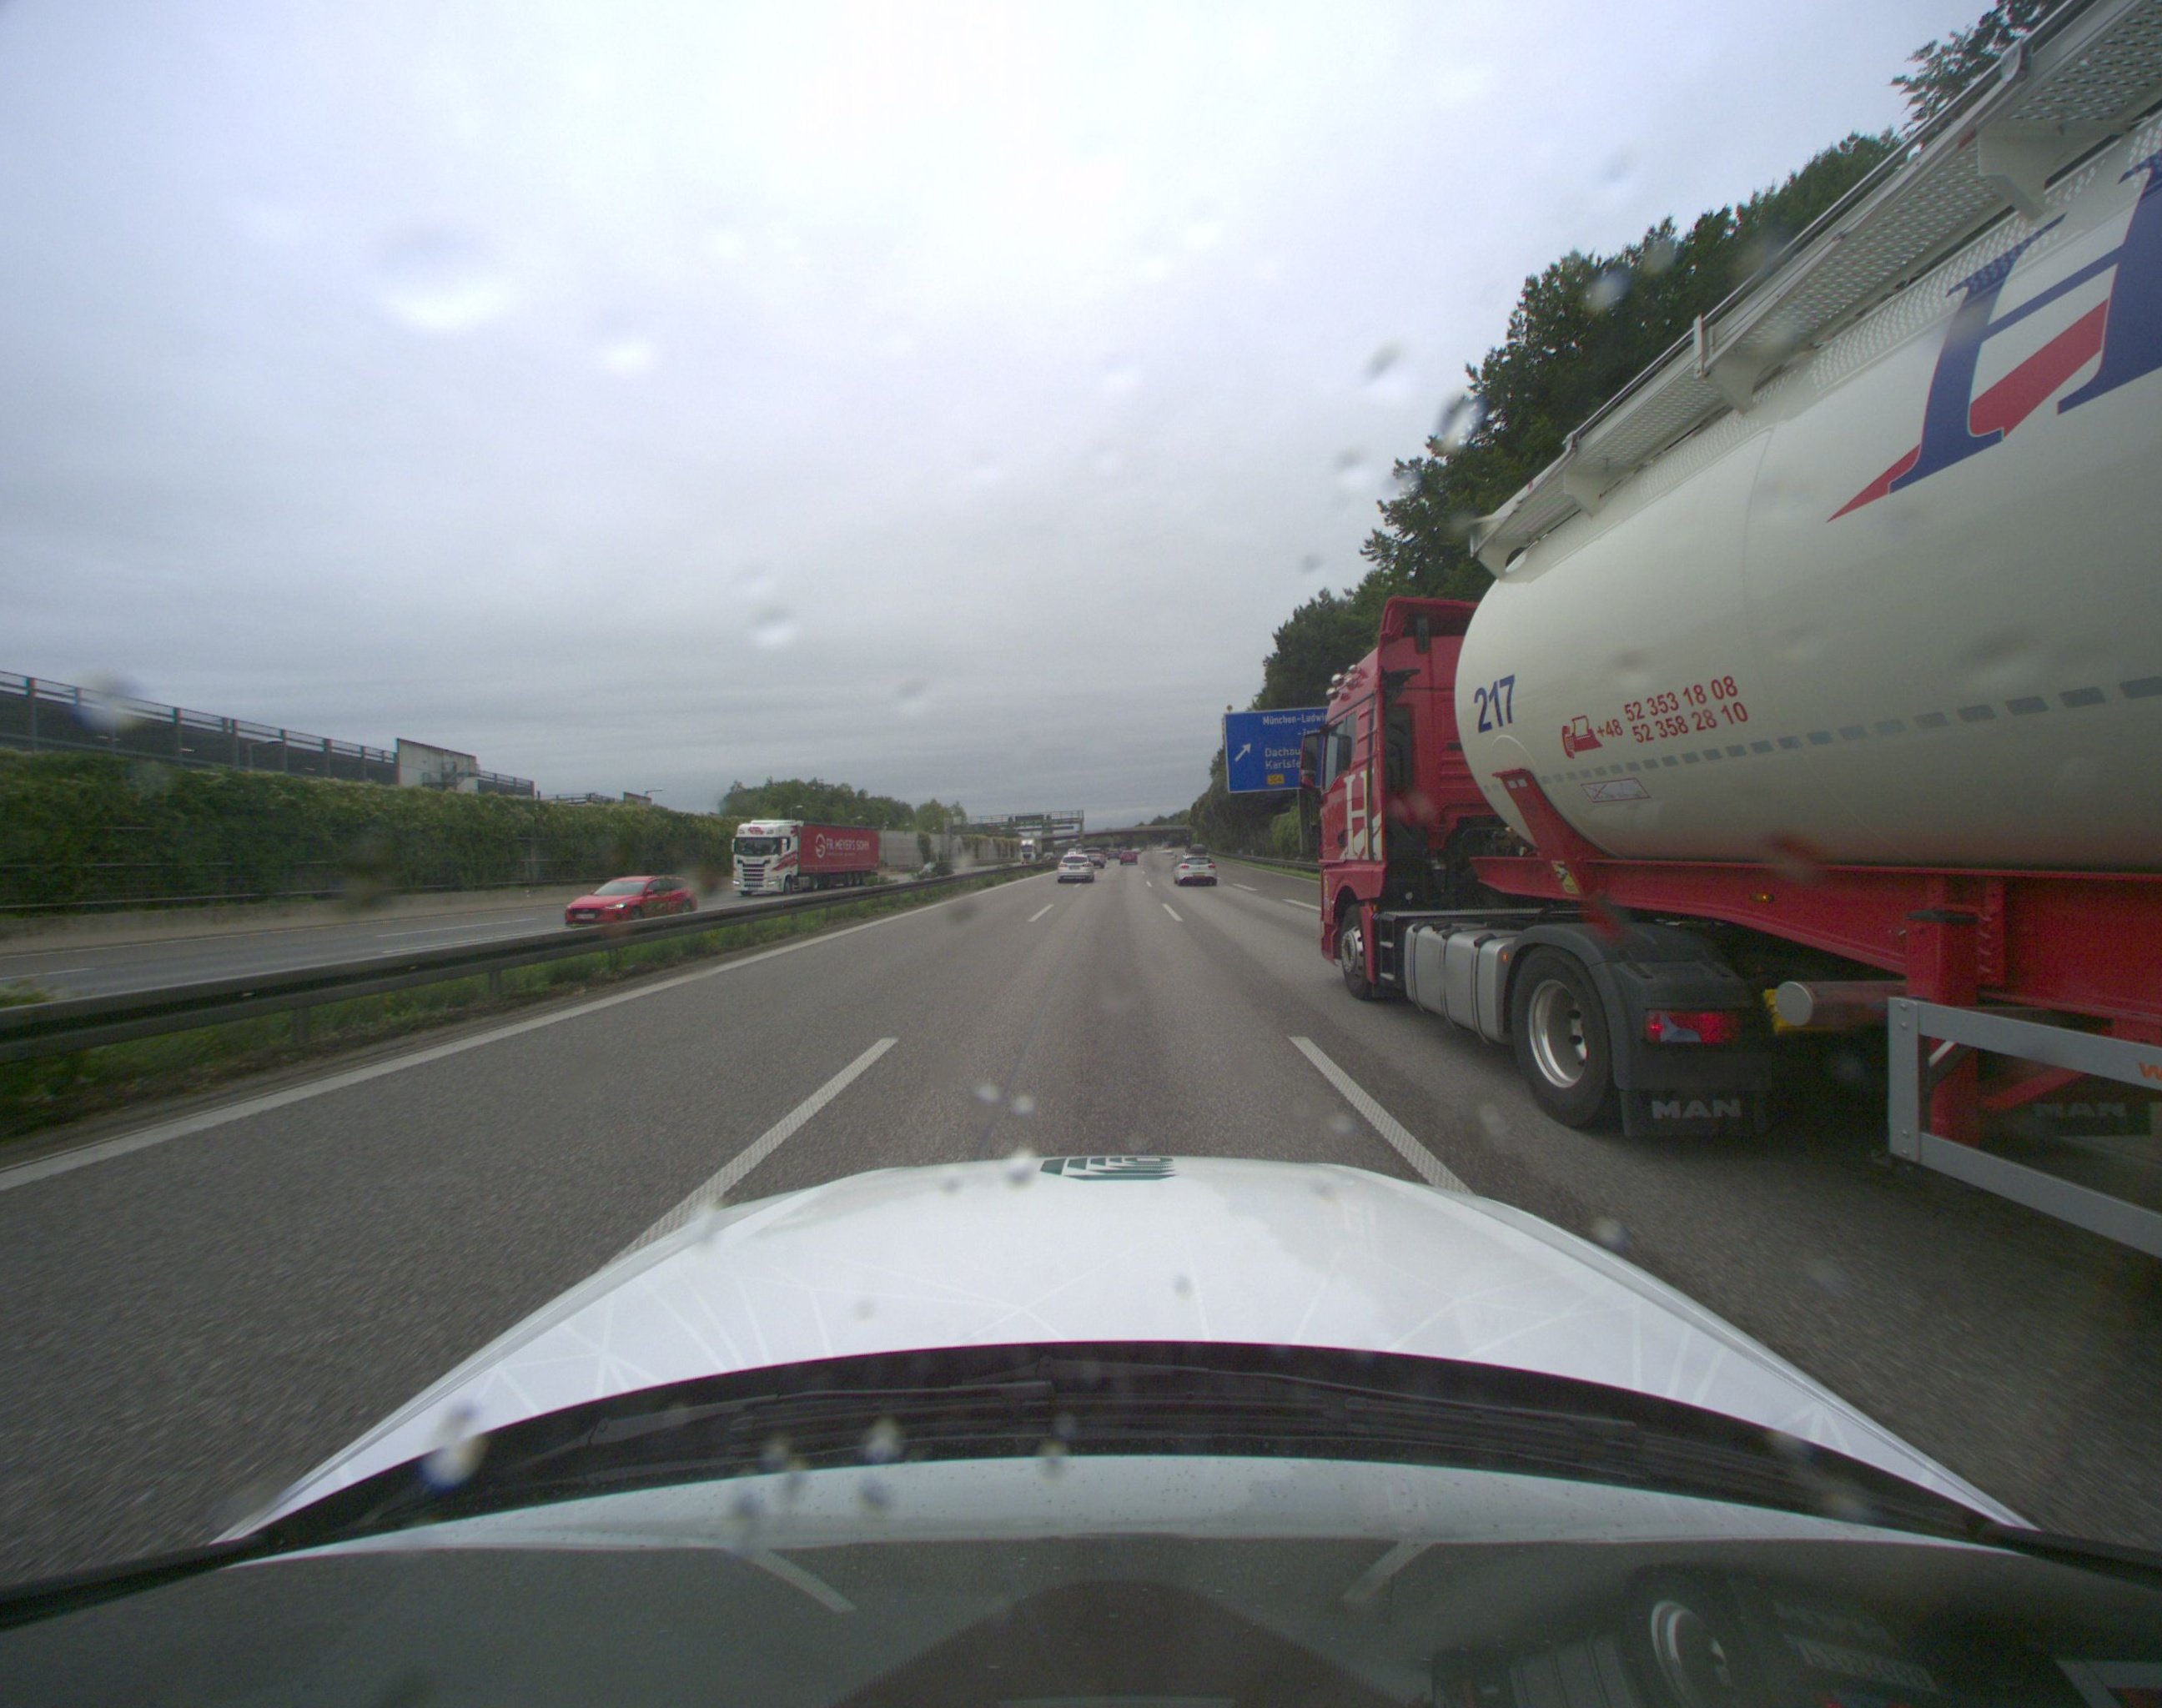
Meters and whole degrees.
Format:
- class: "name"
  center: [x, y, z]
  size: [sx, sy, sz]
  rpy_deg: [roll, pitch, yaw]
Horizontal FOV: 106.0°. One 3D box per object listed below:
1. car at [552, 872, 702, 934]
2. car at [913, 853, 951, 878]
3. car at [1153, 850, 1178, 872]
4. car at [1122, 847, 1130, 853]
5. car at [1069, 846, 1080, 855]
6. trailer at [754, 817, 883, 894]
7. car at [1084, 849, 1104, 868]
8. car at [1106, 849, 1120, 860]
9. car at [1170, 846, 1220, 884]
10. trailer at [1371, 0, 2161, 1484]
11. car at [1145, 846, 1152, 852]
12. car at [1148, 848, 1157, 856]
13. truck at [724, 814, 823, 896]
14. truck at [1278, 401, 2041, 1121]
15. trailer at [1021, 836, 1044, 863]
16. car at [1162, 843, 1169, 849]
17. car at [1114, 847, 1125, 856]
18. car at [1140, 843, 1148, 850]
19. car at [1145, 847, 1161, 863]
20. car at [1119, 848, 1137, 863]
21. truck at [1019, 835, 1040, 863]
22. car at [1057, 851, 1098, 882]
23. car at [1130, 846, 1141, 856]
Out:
- class: "car"
  center: [-13.445, 1.388, 24.510]
  size: [1.765, 1.569, 4.718]
  rpy_deg: [-2, -1, 1]
- class: "car"
  center: [-11.107, 0.806, 60.885]
  size: [1.986, 1.738, 4.002]
  rpy_deg: [0, 1, 2]
- class: "car"
  center: [6.171, 0.487, 59.785]
  size: [1.681, 1.506, 3.877]
  rpy_deg: [-2, -1, 5]
- class: "car"
  center: [10.839, -0.945, 196.186]
  size: [1.681, 1.422, 3.876]
  rpy_deg: [-2, 0, 4]
- class: "car"
  center: [-1.330, -0.732, 178.660]
  size: [1.985, 2.014, 4.914]
  rpy_deg: [-2, -1, 4]
- class: "trailer"
  center: [-16.165, 0.047, 51.758]
  size: [2.732, 4.127, 13.704]
  rpy_deg: [-2, 0, 4]
- class: "car"
  center: [1.170, 0.381, 71.964]
  size: [1.682, 1.506, 3.873]
  rpy_deg: [2, 1, 2]
- class: "car"
  center: [4.689, 0.086, 117.568]
  size: [1.680, 1.506, 3.878]
  rpy_deg: [-4, 0, 6]
- class: "car"
  center: [5.264, 0.495, 38.103]
  size: [1.809, 1.625, 5.032]
  rpy_deg: [1, 0, 2]
- class: "trailer"
  center: [3.754, -0.543, 0.549]
  size: [2.658, 3.939, 13.133]
  rpy_deg: [-1, 0, 1]
- class: "car"
  center: [17.132, -1.312, 208.072]
  size: [1.681, 1.422, 3.876]
  rpy_deg: [-2, 0, 4]
- class: "car"
  center: [14.144, -0.427, 161.791]
  size: [1.680, 1.539, 3.878]
  rpy_deg: [-2, 0, 6]
- class: "truck"
  center: [-16.666, 0.050, 44.574]
  size: [2.656, 4.127, 5.924]
  rpy_deg: [-2, 0, 5]
- class: "truck"
  center: [3.988, -0.532, 7.781]
  size: [2.685, 3.912, 6.558]
  rpy_deg: [-1, 0, 1]
- class: "trailer"
  center: [-8.285, -0.833, 140.288]
  size: [2.656, 4.444, 8.584]
  rpy_deg: [-2, 0, 5]
- class: "car"
  center: [21.909, -1.995, 211.195]
  size: [1.681, 1.422, 3.876]
  rpy_deg: [-2, 0, 4]
- class: "car"
  center: [7.212, -0.435, 152.667]
  size: [1.680, 1.639, 3.877]
  rpy_deg: [-2, 0, 6]
- class: "car"
  center: [14.683, -1.745, 189.083]
  size: [1.680, 1.539, 3.878]
  rpy_deg: [-2, 0, 6]
- class: "car"
  center: [8.476, 0.118, 95.814]
  size: [1.680, 1.779, 3.878]
  rpy_deg: [-2, 0, 6]
- class: "car"
  center: [4.868, 0.148, 84.183]
  size: [1.681, 1.506, 3.876]
  rpy_deg: [2, 1, 4]
- class: "truck"
  center: [-8.599, -0.865, 136.566]
  size: [2.636, 4.473, 5.290]
  rpy_deg: [-2, 0, 5]
- class: "car"
  center: [-0.138, 0.639, 43.055]
  size: [1.884, 1.504, 5.033]
  rpy_deg: [-1, 0, 3]
- class: "car"
  center: [10.302, -0.631, 153.832]
  size: [1.781, 1.779, 3.877]
  rpy_deg: [-2, 0, 6]
